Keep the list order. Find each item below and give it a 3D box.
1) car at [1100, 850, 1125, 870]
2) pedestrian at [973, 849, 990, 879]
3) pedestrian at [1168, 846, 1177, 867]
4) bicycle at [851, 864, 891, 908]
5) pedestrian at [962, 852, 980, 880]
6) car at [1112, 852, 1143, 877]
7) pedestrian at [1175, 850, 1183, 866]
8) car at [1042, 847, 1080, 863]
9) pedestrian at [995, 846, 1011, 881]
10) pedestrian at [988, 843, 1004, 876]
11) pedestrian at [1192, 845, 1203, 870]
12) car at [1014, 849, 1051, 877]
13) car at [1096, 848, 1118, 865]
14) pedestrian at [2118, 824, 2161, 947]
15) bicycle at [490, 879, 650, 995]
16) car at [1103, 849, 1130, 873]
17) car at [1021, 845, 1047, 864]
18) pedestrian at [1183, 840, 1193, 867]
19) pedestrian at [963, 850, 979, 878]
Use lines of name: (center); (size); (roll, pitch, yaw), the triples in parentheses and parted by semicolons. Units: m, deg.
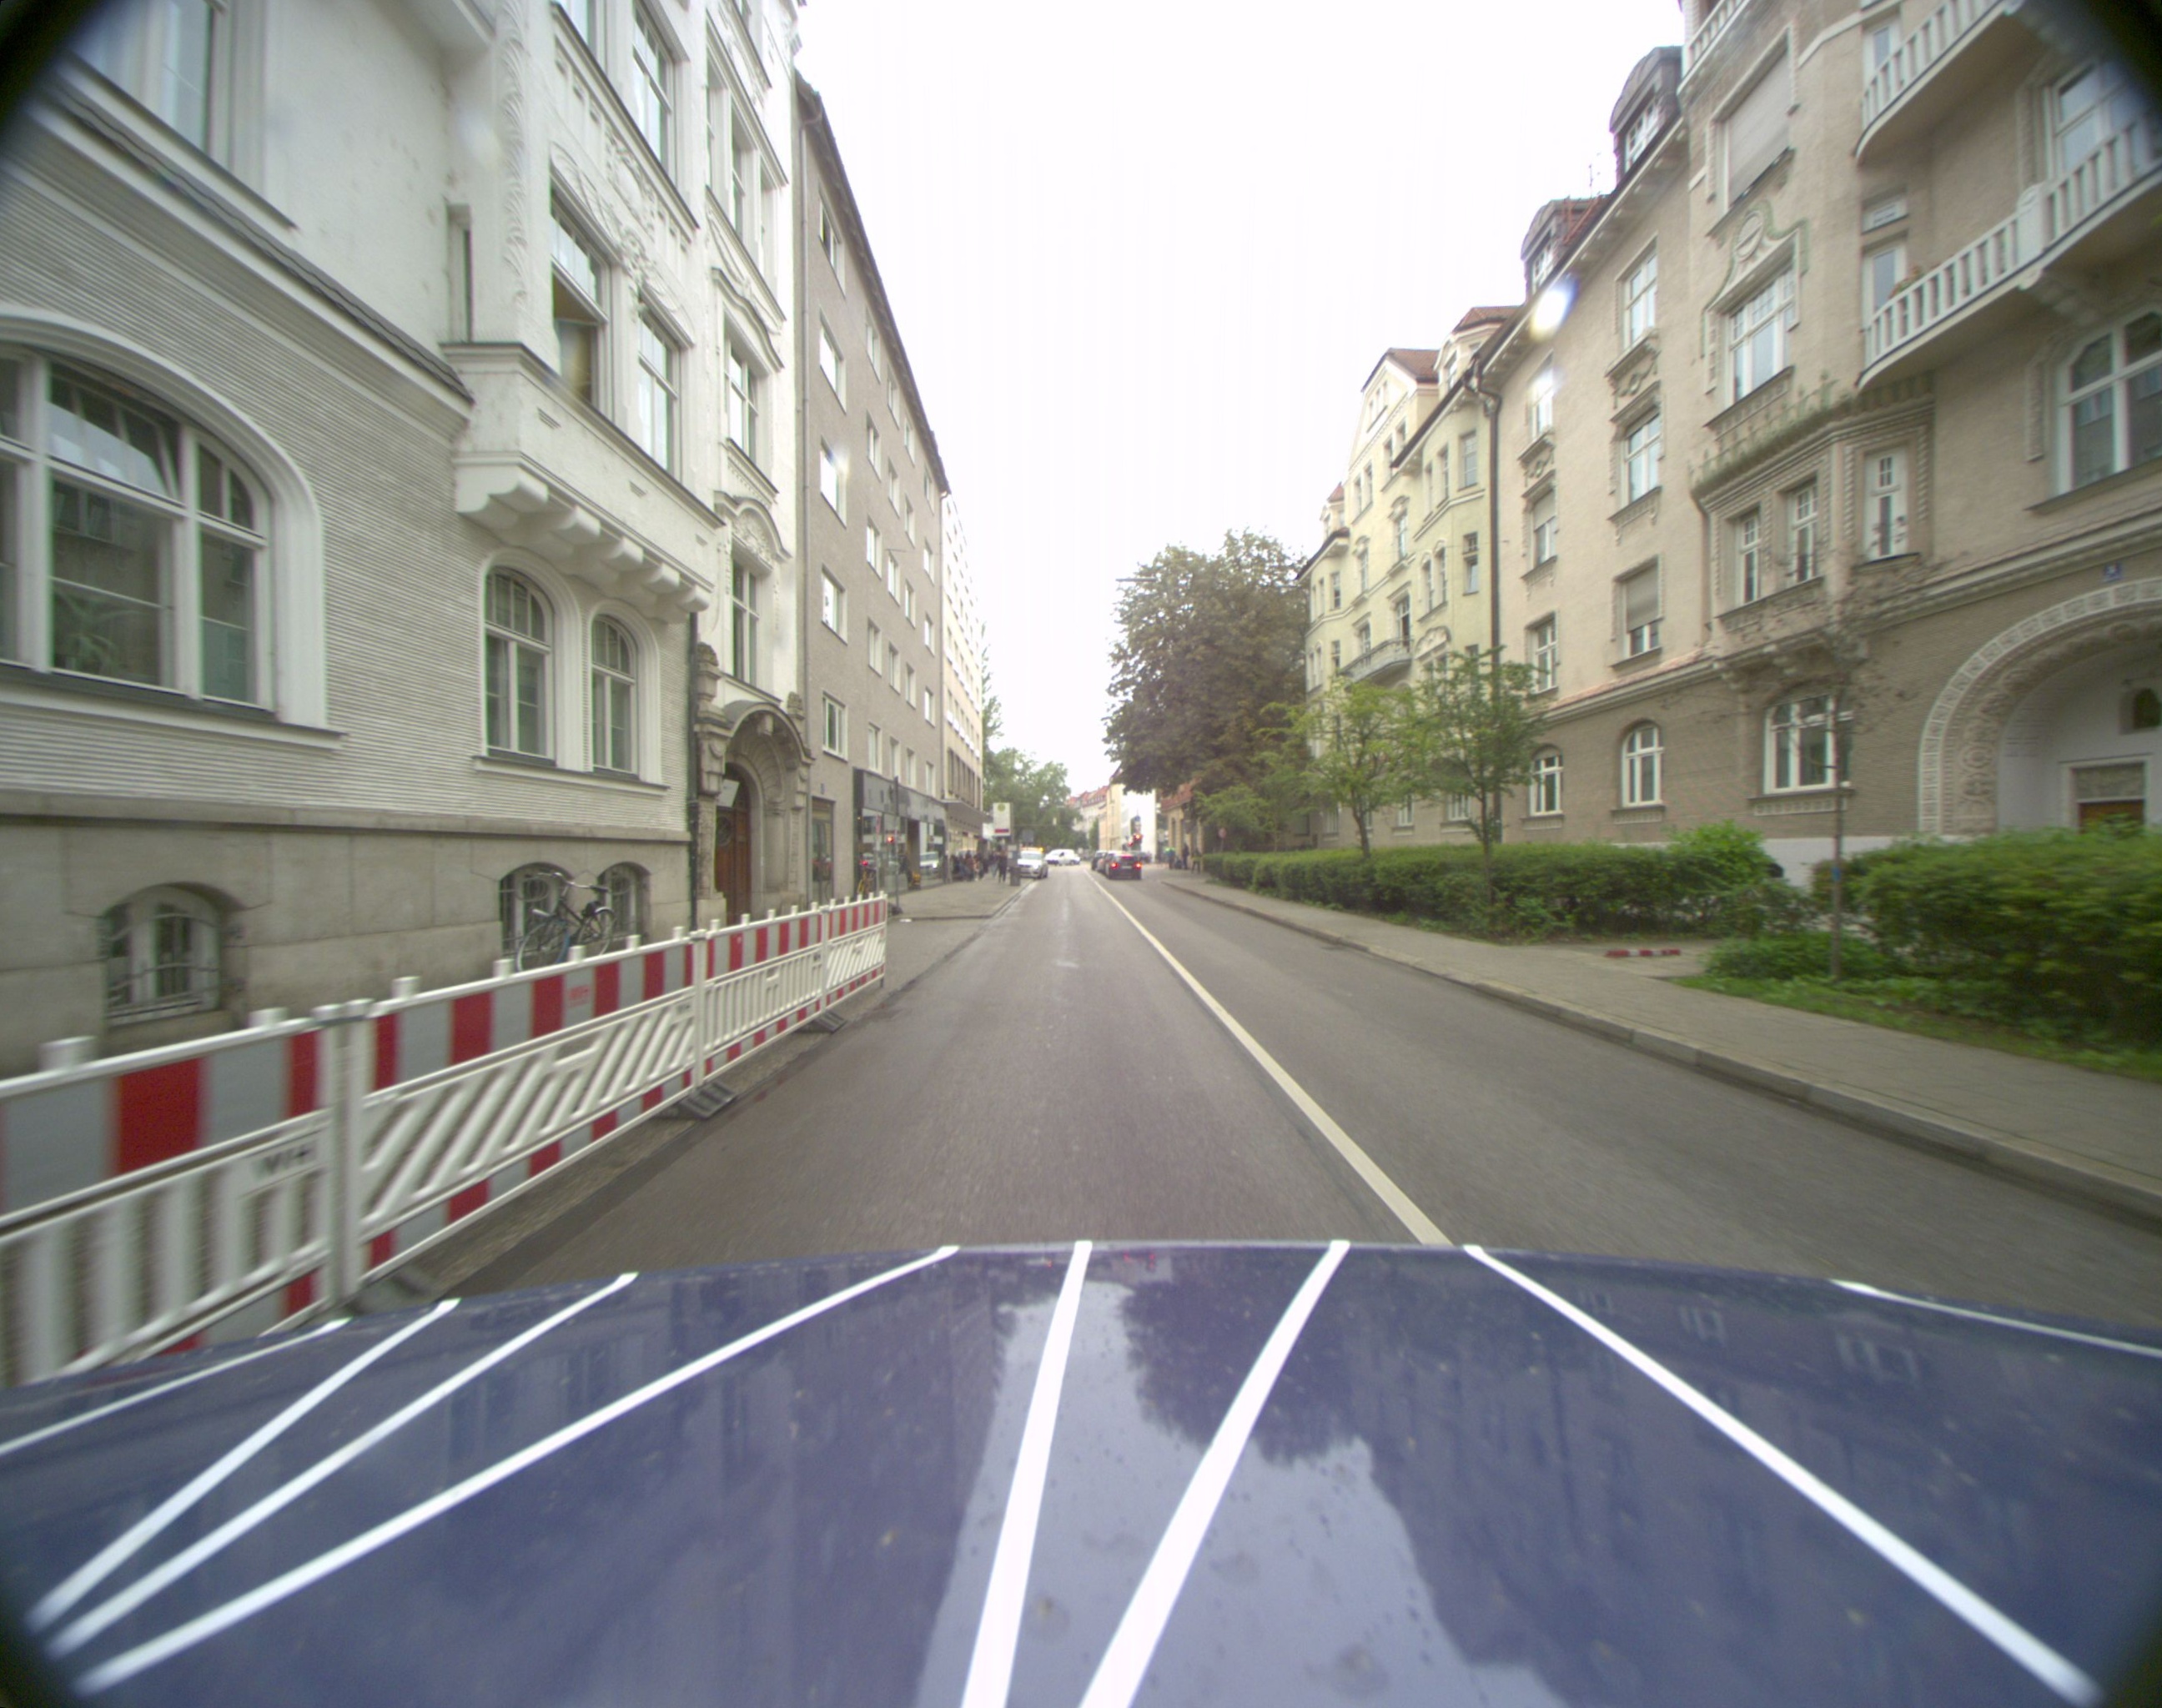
car: (2.397, 0.417, 57.208); (1.723, 1.398, 4.001); (0, 1, 4)
pedestrian: (-5.392, 0.530, 41.143); (0.837, 1.580, 0.805); (0, 1, -4)
pedestrian: (7.018, 0.215, 58.159); (0.625, 1.579, 0.662); (0, 1, 0)
bicycle: (-5.748, 0.851, 20.893); (0.593, 1.111, 1.845); (0, 1, 0)
pedestrian: (-5.534, 0.603, 38.391); (0.837, 1.399, 0.865); (0, 1, -4)
car: (2.699, 0.569, 44.121); (1.723, 1.398, 4.001); (0, 1, 4)
pedestrian: (7.470, 0.306, 57.718); (0.546, 1.237, 0.577); (0, 1, 0)
car: (-2.199, 0.094, 85.577); (1.915, 1.648, 4.611); (0, 1, 35)
pedestrian: (-3.831, 0.473, 37.430); (0.745, 1.706, 0.616); (0, 1, 0)
pedestrian: (-4.791, 0.297, 43.006); (0.826, 1.850, 0.820); (-1, 1, -2)
pedestrian: (7.613, 0.247, 49.510); (0.625, 1.611, 0.662); (0, 1, 0)
car: (-2.914, 0.520, 46.213); (1.723, 1.622, 4.001); (0, 1, 4)
car: (2.235, 0.209, 64.529); (1.723, 1.398, 4.001); (0, 1, 4)
pedestrian: (14.436, 0.413, 10.006); (0.611, 1.602, 0.721); (-1, 1, -12)
bicycle: (-5.859, 0.902, 8.838); (0.684, 1.164, 1.653); (0, 1, 2)
car: (2.449, 0.434, 51.342); (1.723, 1.536, 4.001); (0, 1, 4)
car: (-4.088, 0.018, 66.484); (1.723, 1.622, 4.001); (0, 1, 4)
pedestrian: (7.739, -0.049, 54.867); (0.625, 1.945, 0.662); (0, 1, 0)
pedestrian: (-5.719, 0.521, 39.574); (0.747, 1.439, 0.571); (0, 1, 0)
